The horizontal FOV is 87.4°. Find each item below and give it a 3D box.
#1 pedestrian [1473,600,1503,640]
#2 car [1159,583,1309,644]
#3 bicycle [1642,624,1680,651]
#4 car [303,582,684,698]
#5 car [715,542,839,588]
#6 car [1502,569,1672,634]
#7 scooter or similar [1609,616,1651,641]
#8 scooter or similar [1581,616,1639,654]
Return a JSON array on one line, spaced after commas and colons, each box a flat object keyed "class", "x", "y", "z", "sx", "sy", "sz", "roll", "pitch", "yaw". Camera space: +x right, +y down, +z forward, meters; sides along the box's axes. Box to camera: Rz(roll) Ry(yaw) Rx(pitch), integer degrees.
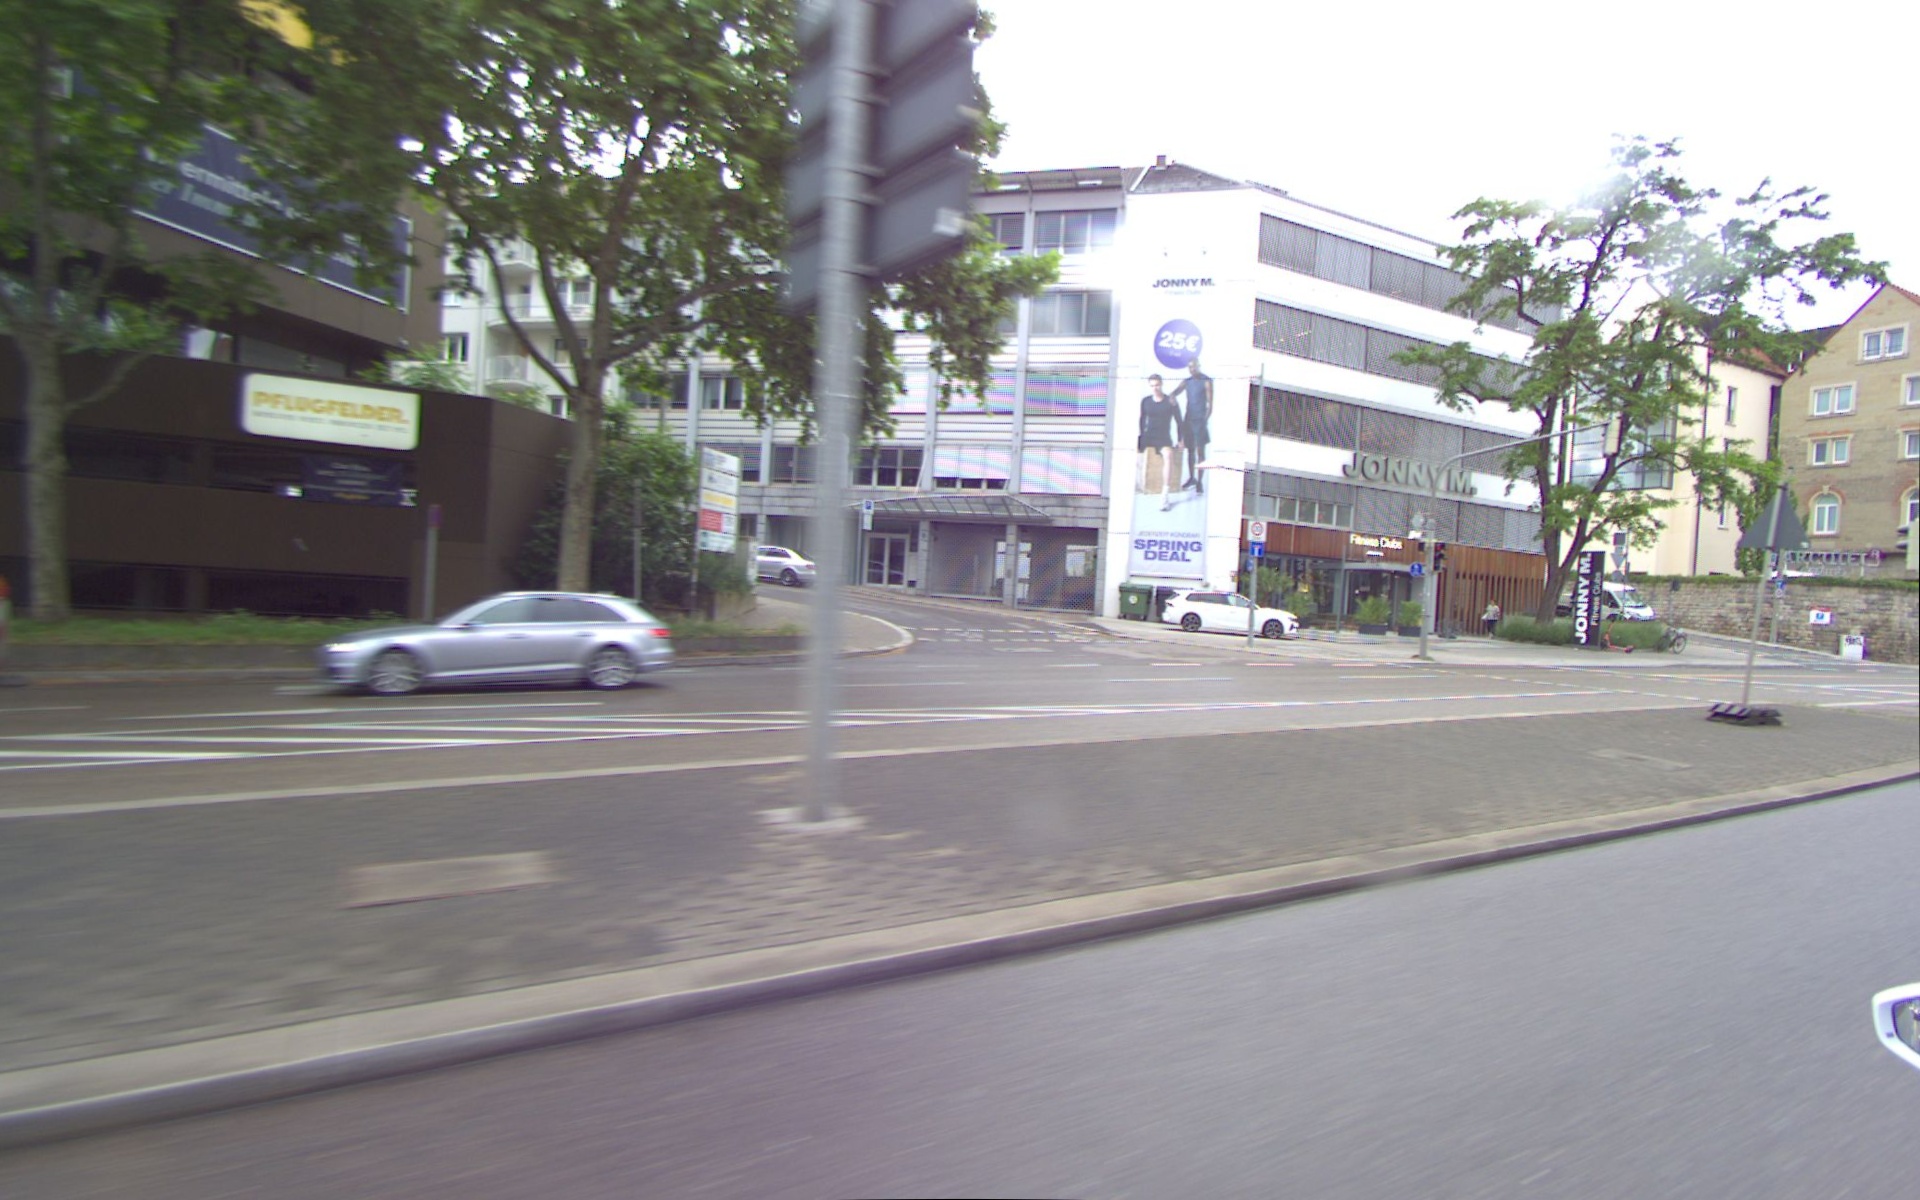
[{"class": "pedestrian", "x": 22.219, "y": 0.835, "z": 42.273, "sx": 0.831, "sy": 1.663, "sz": 0.765, "roll": 1, "pitch": 0, "yaw": -27}, {"class": "car", "x": 9.362, "y": 0.415, "z": 34.692, "sx": 4.746, "sy": 1.676, "sz": 2.001, "roll": 5, "pitch": 2, "yaw": 12}, {"class": "bicycle", "x": 27.959, "y": 1.503, "z": 40.050, "sx": 1.736, "sy": 1.004, "sz": 0.455, "roll": 2, "pitch": 1, "yaw": -27}, {"class": "car", "x": -6.760, "y": 0.556, "z": 14.831, "sx": 4.828, "sy": 1.466, "sz": 1.982, "roll": 2, "pitch": 0, "yaw": -32}, {"class": "car", "x": -7.323, "y": -1.396, "z": 40.342, "sx": 4.397, "sy": 1.485, "sz": 2.001, "roll": 5, "pitch": 2, "yaw": 15}, {"class": "car", "x": 31.435, "y": -0.042, "z": 50.711, "sx": 2.480, "sy": 2.307, "sz": 6.879, "roll": -1, "pitch": 8, "yaw": -25}, {"class": "scooter or similar", "x": 30.136, "y": 1.268, "z": 45.217, "sx": 0.438, "sy": 0.934, "sz": 1.462, "roll": 1, "pitch": 5, "yaw": -28}, {"class": "scooter or similar", "x": 24.488, "y": 1.307, "z": 37.870, "sx": 1.726, "sy": 1.263, "sz": 0.369, "roll": 6, "pitch": 3, "yaw": 35}]
